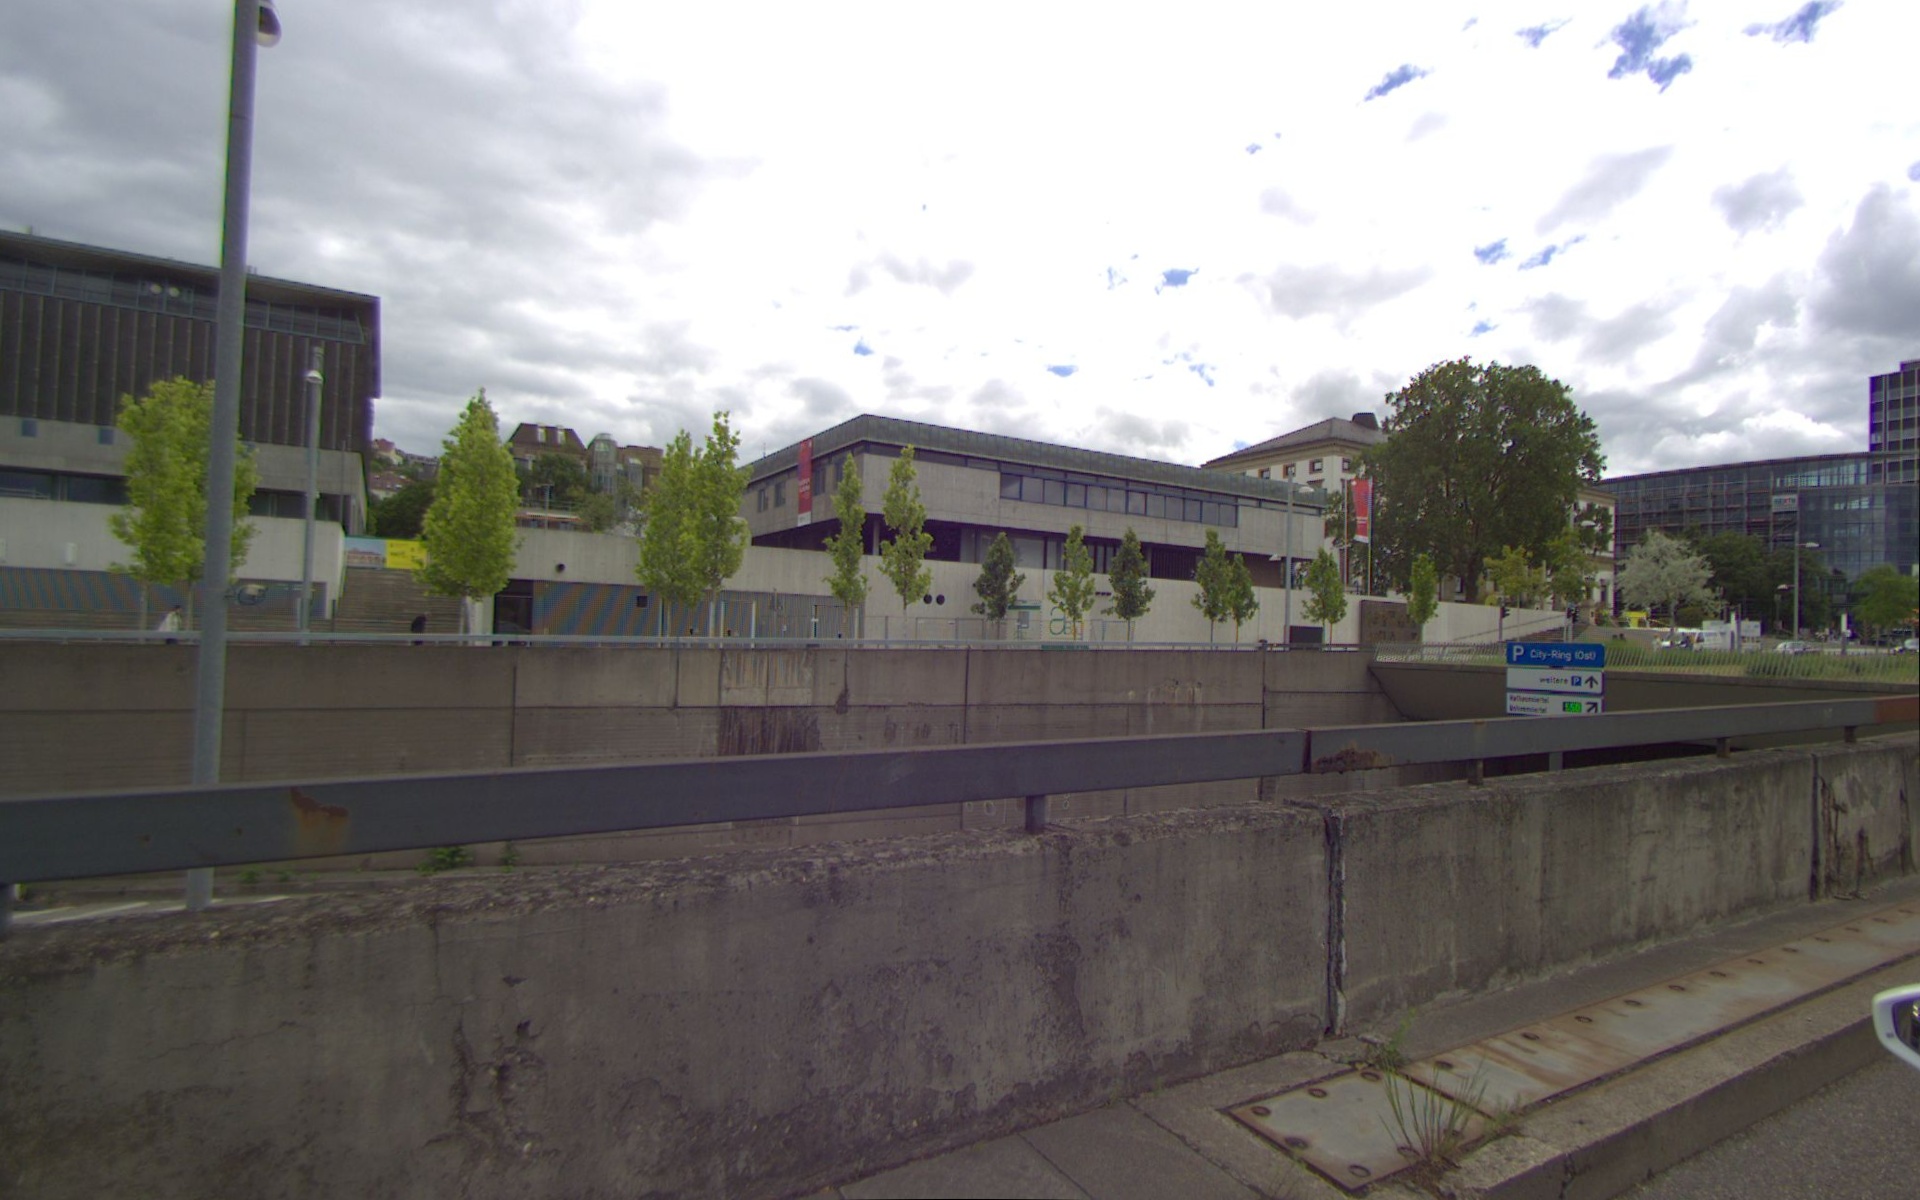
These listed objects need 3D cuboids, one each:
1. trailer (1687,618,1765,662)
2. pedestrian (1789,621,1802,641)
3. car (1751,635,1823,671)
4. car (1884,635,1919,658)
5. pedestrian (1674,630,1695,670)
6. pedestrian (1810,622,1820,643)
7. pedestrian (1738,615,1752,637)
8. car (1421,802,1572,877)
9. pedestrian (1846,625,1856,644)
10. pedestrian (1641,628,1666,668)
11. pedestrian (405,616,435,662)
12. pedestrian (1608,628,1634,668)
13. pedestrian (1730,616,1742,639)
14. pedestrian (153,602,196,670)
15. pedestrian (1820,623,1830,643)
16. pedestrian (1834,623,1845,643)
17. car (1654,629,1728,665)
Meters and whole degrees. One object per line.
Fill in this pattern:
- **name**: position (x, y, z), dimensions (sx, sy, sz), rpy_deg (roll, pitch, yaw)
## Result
- **trailer**: position (49.506, 2.560, 64.861), dimensions (5.443, 2.640, 2.028), rpy_deg (1, 1, -30)
- **pedestrian**: position (84.204, 3.118, 101.221), dimensions (0.783, 2.040, 0.735), rpy_deg (0, -1, -29)
- **car**: position (51.416, 3.244, 62.436), dimensions (4.635, 2.040, 1.985), rpy_deg (0, 0, -30)
- **car**: position (69.664, 3.420, 73.786), dimensions (3.556, 1.514, 1.723), rpy_deg (3, 0, -32)
- **pedestrian**: position (38.434, 2.632, 53.306), dimensions (0.623, 2.041, 0.724), rpy_deg (-4, 2, -37)
- **pedestrian**: position (86.287, 3.280, 101.400), dimensions (0.730, 2.040, 0.916), rpy_deg (-1, -1, 41)
- **pedestrian**: position (72.556, 2.378, 92.822), dimensions (1.103, 2.040, 0.734), rpy_deg (0, -1, -35)
- **car**: position (16.476, 7.270, 30.794), dimensions (4.345, 1.789, 2.153), rpy_deg (6, -5, -30)
- **pedestrian**: position (96.867, 3.773, 109.218), dimensions (0.731, 2.040, 0.788), rpy_deg (-1, -1, 45)
- **pedestrian**: position (35.488, 2.464, 51.376), dimensions (0.845, 2.040, 0.629), rpy_deg (0, -1, 6)
- **pedestrian**: position (-19.867, 1.417, 36.966), dimensions (0.779, 1.664, 0.739), rpy_deg (0, -1, -11)
- **pedestrian**: position (34.361, 2.472, 52.186), dimensions (0.824, 2.040, 0.790), rpy_deg (0, -1, -19)
- **pedestrian**: position (69.042, 2.447, 89.374), dimensions (0.730, 2.040, 0.789), rpy_deg (1, -3, 43)
- **pedestrian**: position (-23.925, 1.073, 30.596), dimensions (0.779, 2.040, 0.739), rpy_deg (0, -1, -14)
- **pedestrian**: position (87.034, 3.319, 101.070), dimensions (0.730, 2.040, 0.916), rpy_deg (-1, -1, 41)
- **pedestrian**: position (90.111, 3.377, 102.913), dimensions (0.731, 2.040, 0.788), rpy_deg (-1, -1, 45)
- **car**: position (45.233, 2.886, 62.164), dimensions (4.635, 2.040, 1.985), rpy_deg (0, 0, -30)
